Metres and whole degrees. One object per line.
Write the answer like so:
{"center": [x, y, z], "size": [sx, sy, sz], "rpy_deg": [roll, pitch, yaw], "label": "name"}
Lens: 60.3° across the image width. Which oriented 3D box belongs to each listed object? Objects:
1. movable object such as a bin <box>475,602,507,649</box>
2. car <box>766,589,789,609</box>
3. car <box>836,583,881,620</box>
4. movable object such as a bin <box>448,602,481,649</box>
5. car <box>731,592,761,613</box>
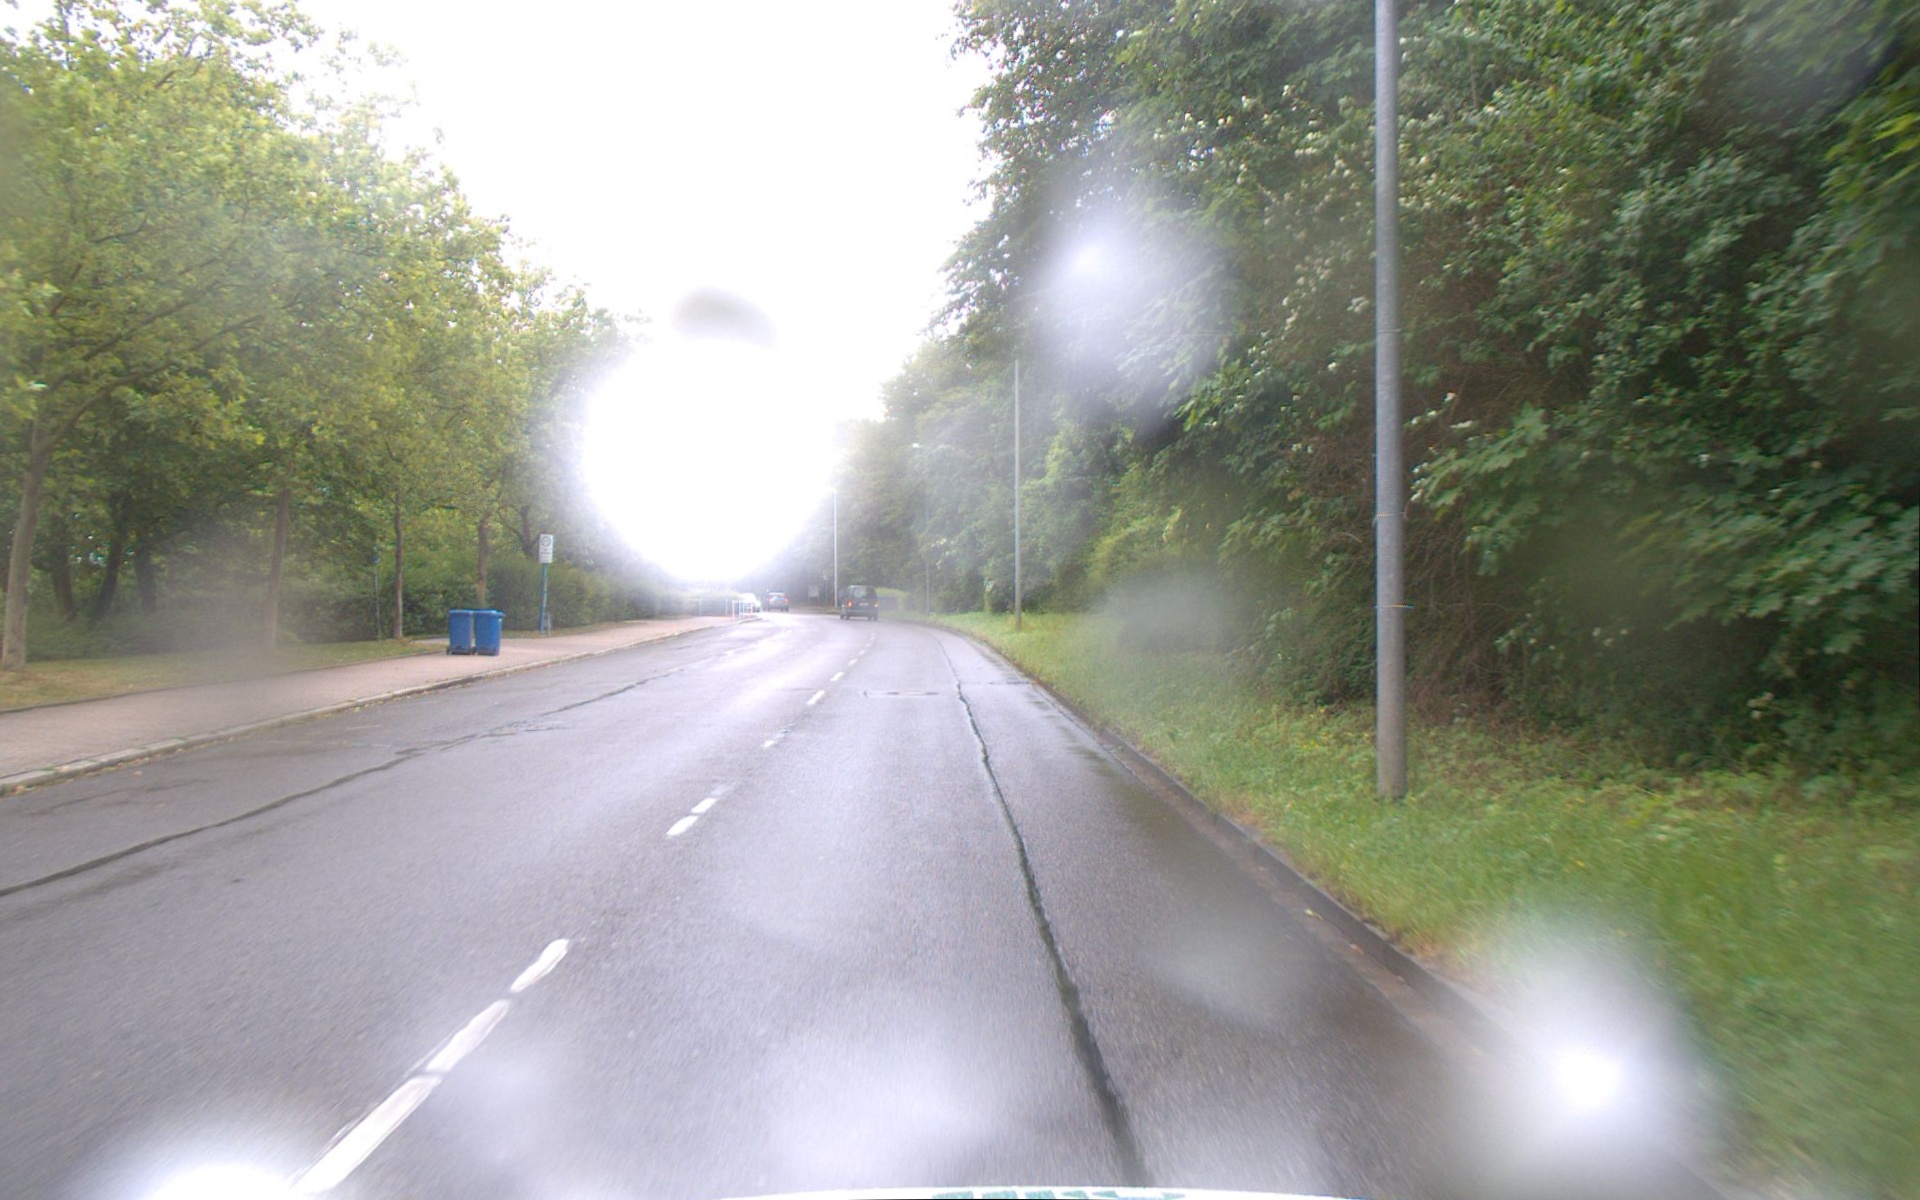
{"center": [-11.494, 0.630, 40.555], "size": [0.555, 1.117, 0.672], "rpy_deg": [2, 0, 0], "label": "movable object such as a bin"}
{"center": [-14.769, -0.106, 134.061], "size": [1.760, 1.536, 3.995], "rpy_deg": [-2, 1, -6], "label": "car"}
{"center": [-5.517, 0.070, 89.740], "size": [1.950, 1.959, 3.990], "rpy_deg": [0, 0, -11], "label": "car"}
{"center": [-12.082, 0.620, 40.353], "size": [0.555, 1.117, 0.672], "rpy_deg": [2, 0, 0], "label": "movable object such as a bin"}
{"center": [-16.084, 0.191, 124.209], "size": [1.795, 1.490, 3.986], "rpy_deg": [-2, 0, -14], "label": "car"}
